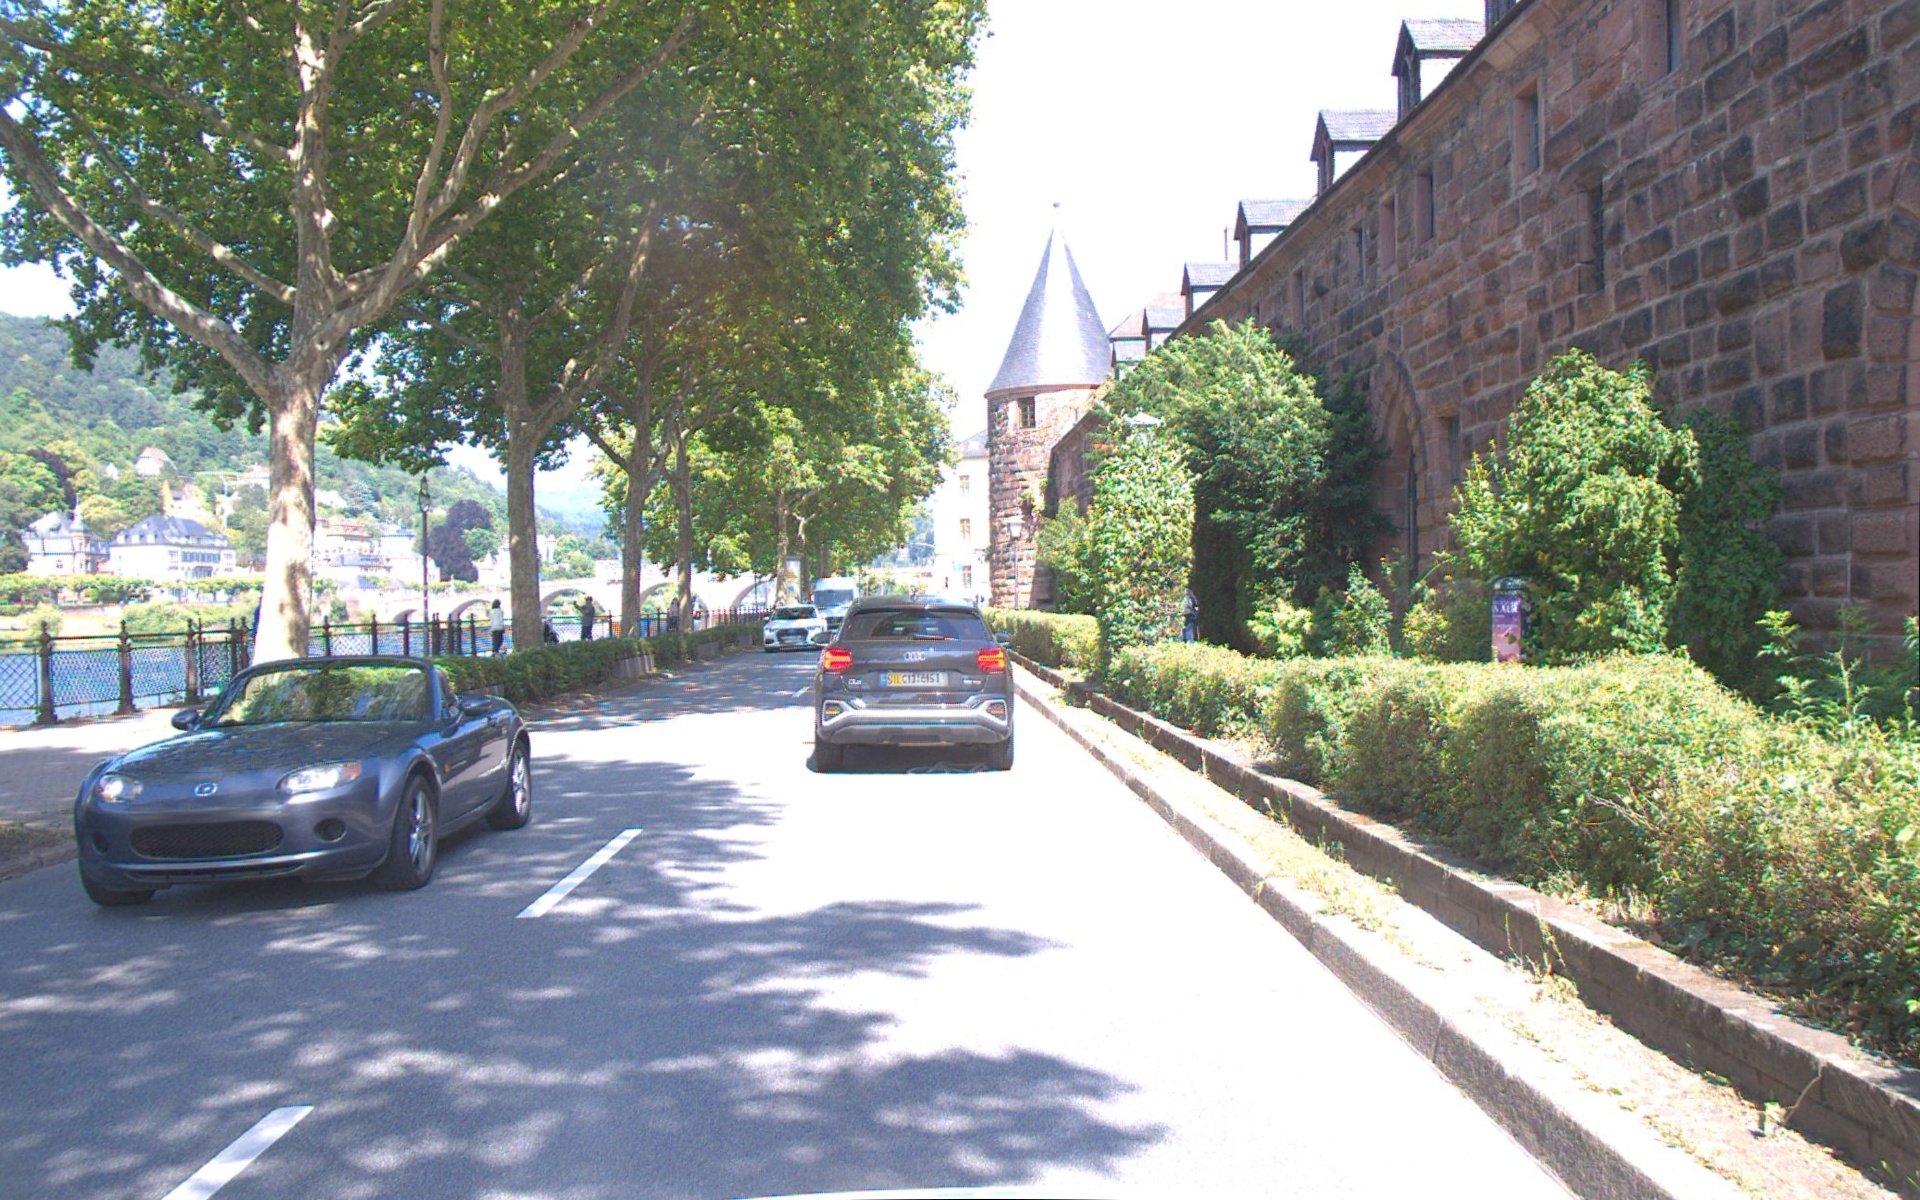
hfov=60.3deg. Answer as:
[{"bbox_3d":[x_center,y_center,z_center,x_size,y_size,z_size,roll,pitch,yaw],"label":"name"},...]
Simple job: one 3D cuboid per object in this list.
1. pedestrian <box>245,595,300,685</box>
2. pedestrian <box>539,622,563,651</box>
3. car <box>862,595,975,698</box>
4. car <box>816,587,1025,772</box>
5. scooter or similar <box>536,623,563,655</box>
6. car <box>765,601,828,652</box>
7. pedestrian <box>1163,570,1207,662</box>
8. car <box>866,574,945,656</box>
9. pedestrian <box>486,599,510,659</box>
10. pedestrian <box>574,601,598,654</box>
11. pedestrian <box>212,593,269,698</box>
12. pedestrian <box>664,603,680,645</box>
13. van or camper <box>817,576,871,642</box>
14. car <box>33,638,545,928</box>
[{"bbox_3d":[-12.666,0.725,30.471,0.689,1.631,0.705,-1,-1,0],"label":"pedestrian"},{"bbox_3d":[-12.931,1.160,52.265,0.595,0.899,0.705,-1,0,-2],"label":"pedestrian"},{"bbox_3d":[-0.678,0.743,28.516,1.764,1.589,3.715,-2,0,0],"label":"car"},{"bbox_3d":[-0.412,0.664,15.508,1.713,1.521,3.627,1,0,-3],"label":"car"},{"bbox_3d":[-12.926,1.221,52.117,0.618,0.985,1.012,-1,0,-2],"label":"scooter or similar"},{"bbox_3d":[-5.165,0.807,52.693,1.734,1.482,4.531,-2,0,-3],"label":"car"},{"bbox_3d":[4.232,0.291,31.183,0.684,1.681,0.705,-2,0,1],"label":"pedestrian"},{"bbox_3d":[-1.454,0.380,44.526,1.953,2.049,3.999,-2,0,-2],"label":"car"},{"bbox_3d":[-13.527,0.860,48.458,0.573,1.740,0.403,1,-1,-4],"label":"pedestrian"},{"bbox_3d":[-11.731,0.853,51.858,0.631,1.647,0.458,1,-1,-4],"label":"pedestrian"},{"bbox_3d":[-12.752,0.795,29.324,0.689,1.828,0.705,-1,-1,0],"label":"pedestrian"},{"bbox_3d":[-10.949,0.896,62.920,0.448,1.581,0.585,-2,0,-2],"label":"pedestrian"},{"bbox_3d":[-4.953,0.387,71.106,1.921,2.612,5.838,-3,0,-2],"label":"van or camper"},{"bbox_3d":[-3.661,0.915,9.704,1.664,1.232,3.484,-3,0,-3],"label":"car"}]
